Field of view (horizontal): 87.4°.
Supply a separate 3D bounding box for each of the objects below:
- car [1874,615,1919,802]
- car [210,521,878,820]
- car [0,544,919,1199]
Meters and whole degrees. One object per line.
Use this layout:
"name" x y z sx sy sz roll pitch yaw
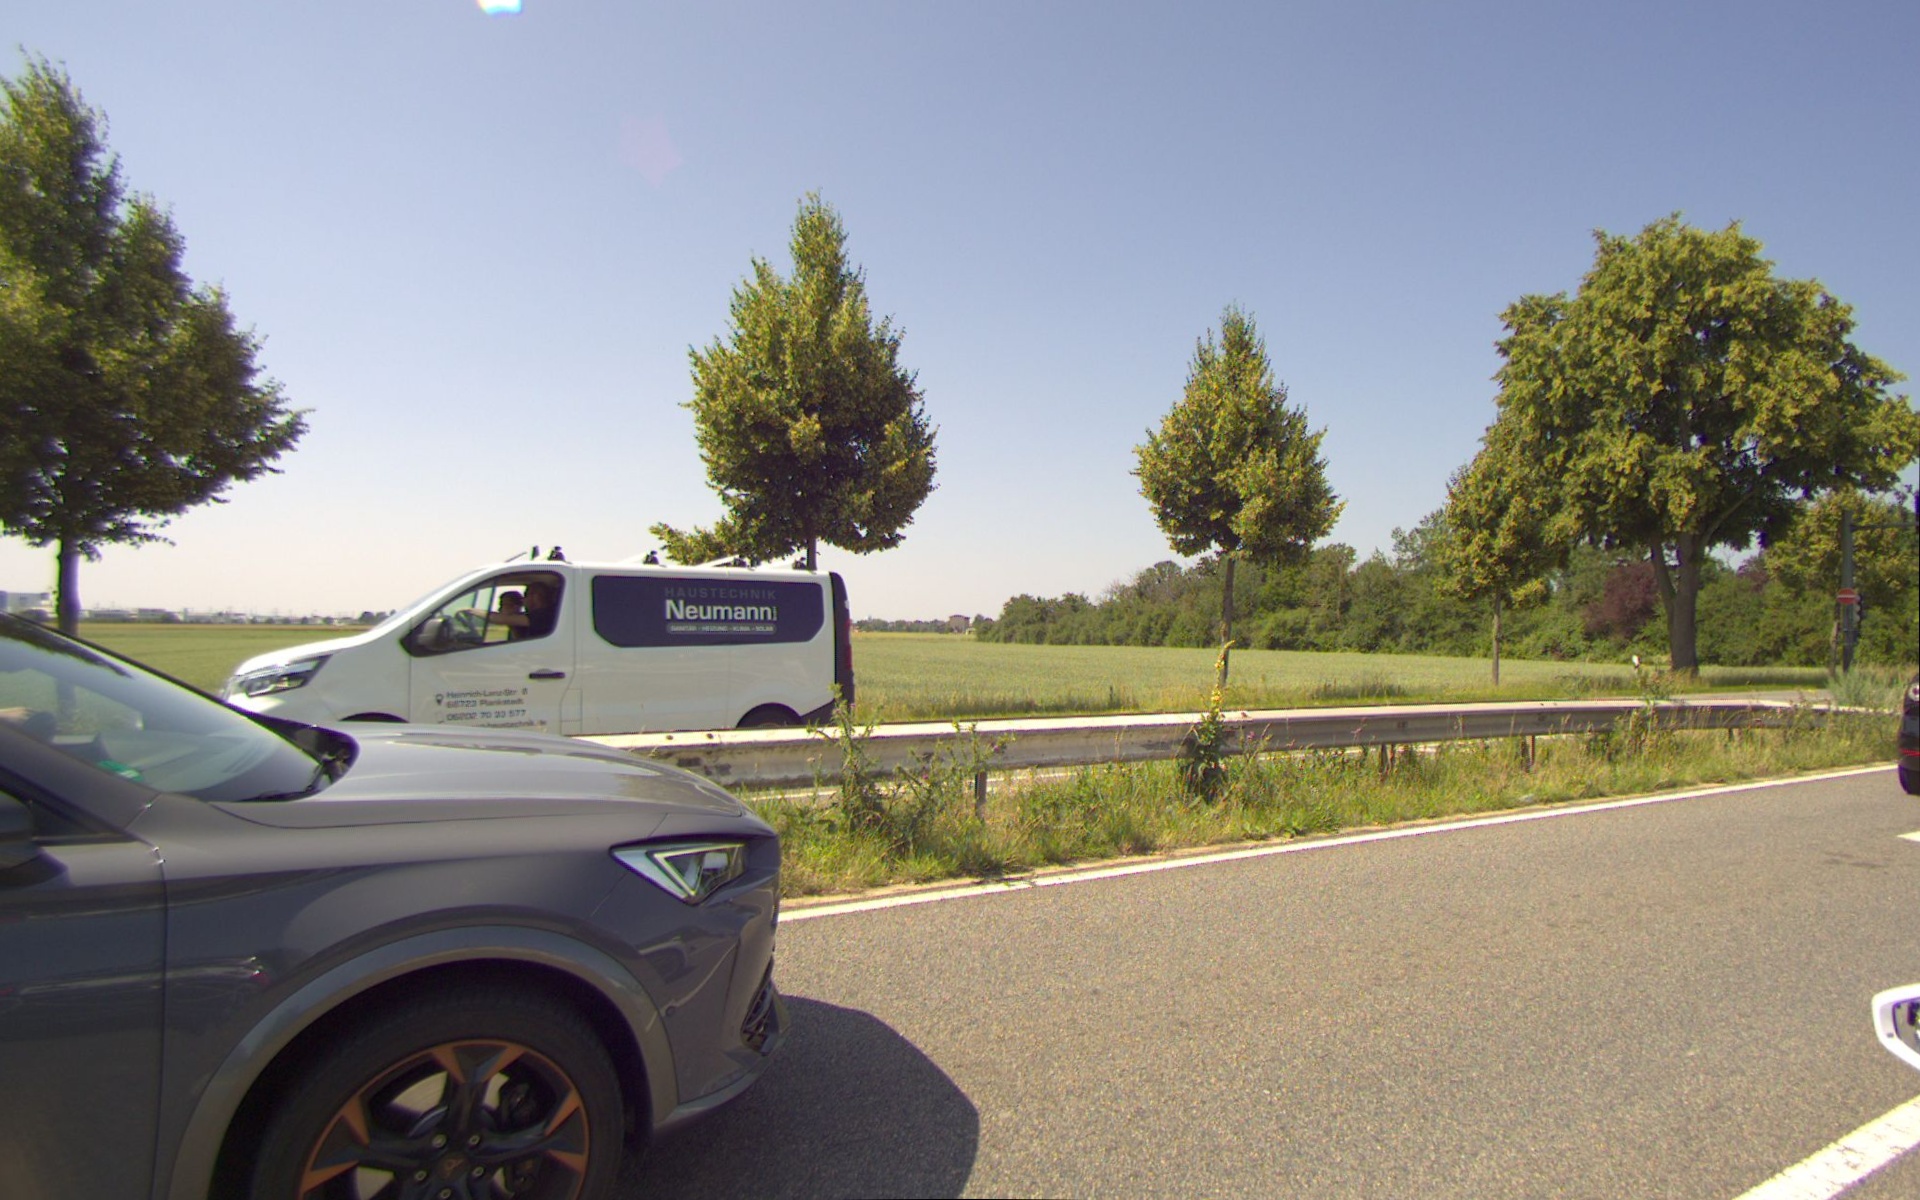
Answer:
"car" 10.173 0.977 9.058 3.845 1.597 1.716 1 0 -29
"car" -3.388 0.548 8.893 4.958 2.006 1.984 1 -2 -31
"car" -2.399 0.656 2.067 4.311 1.523 1.737 1 0 -30
